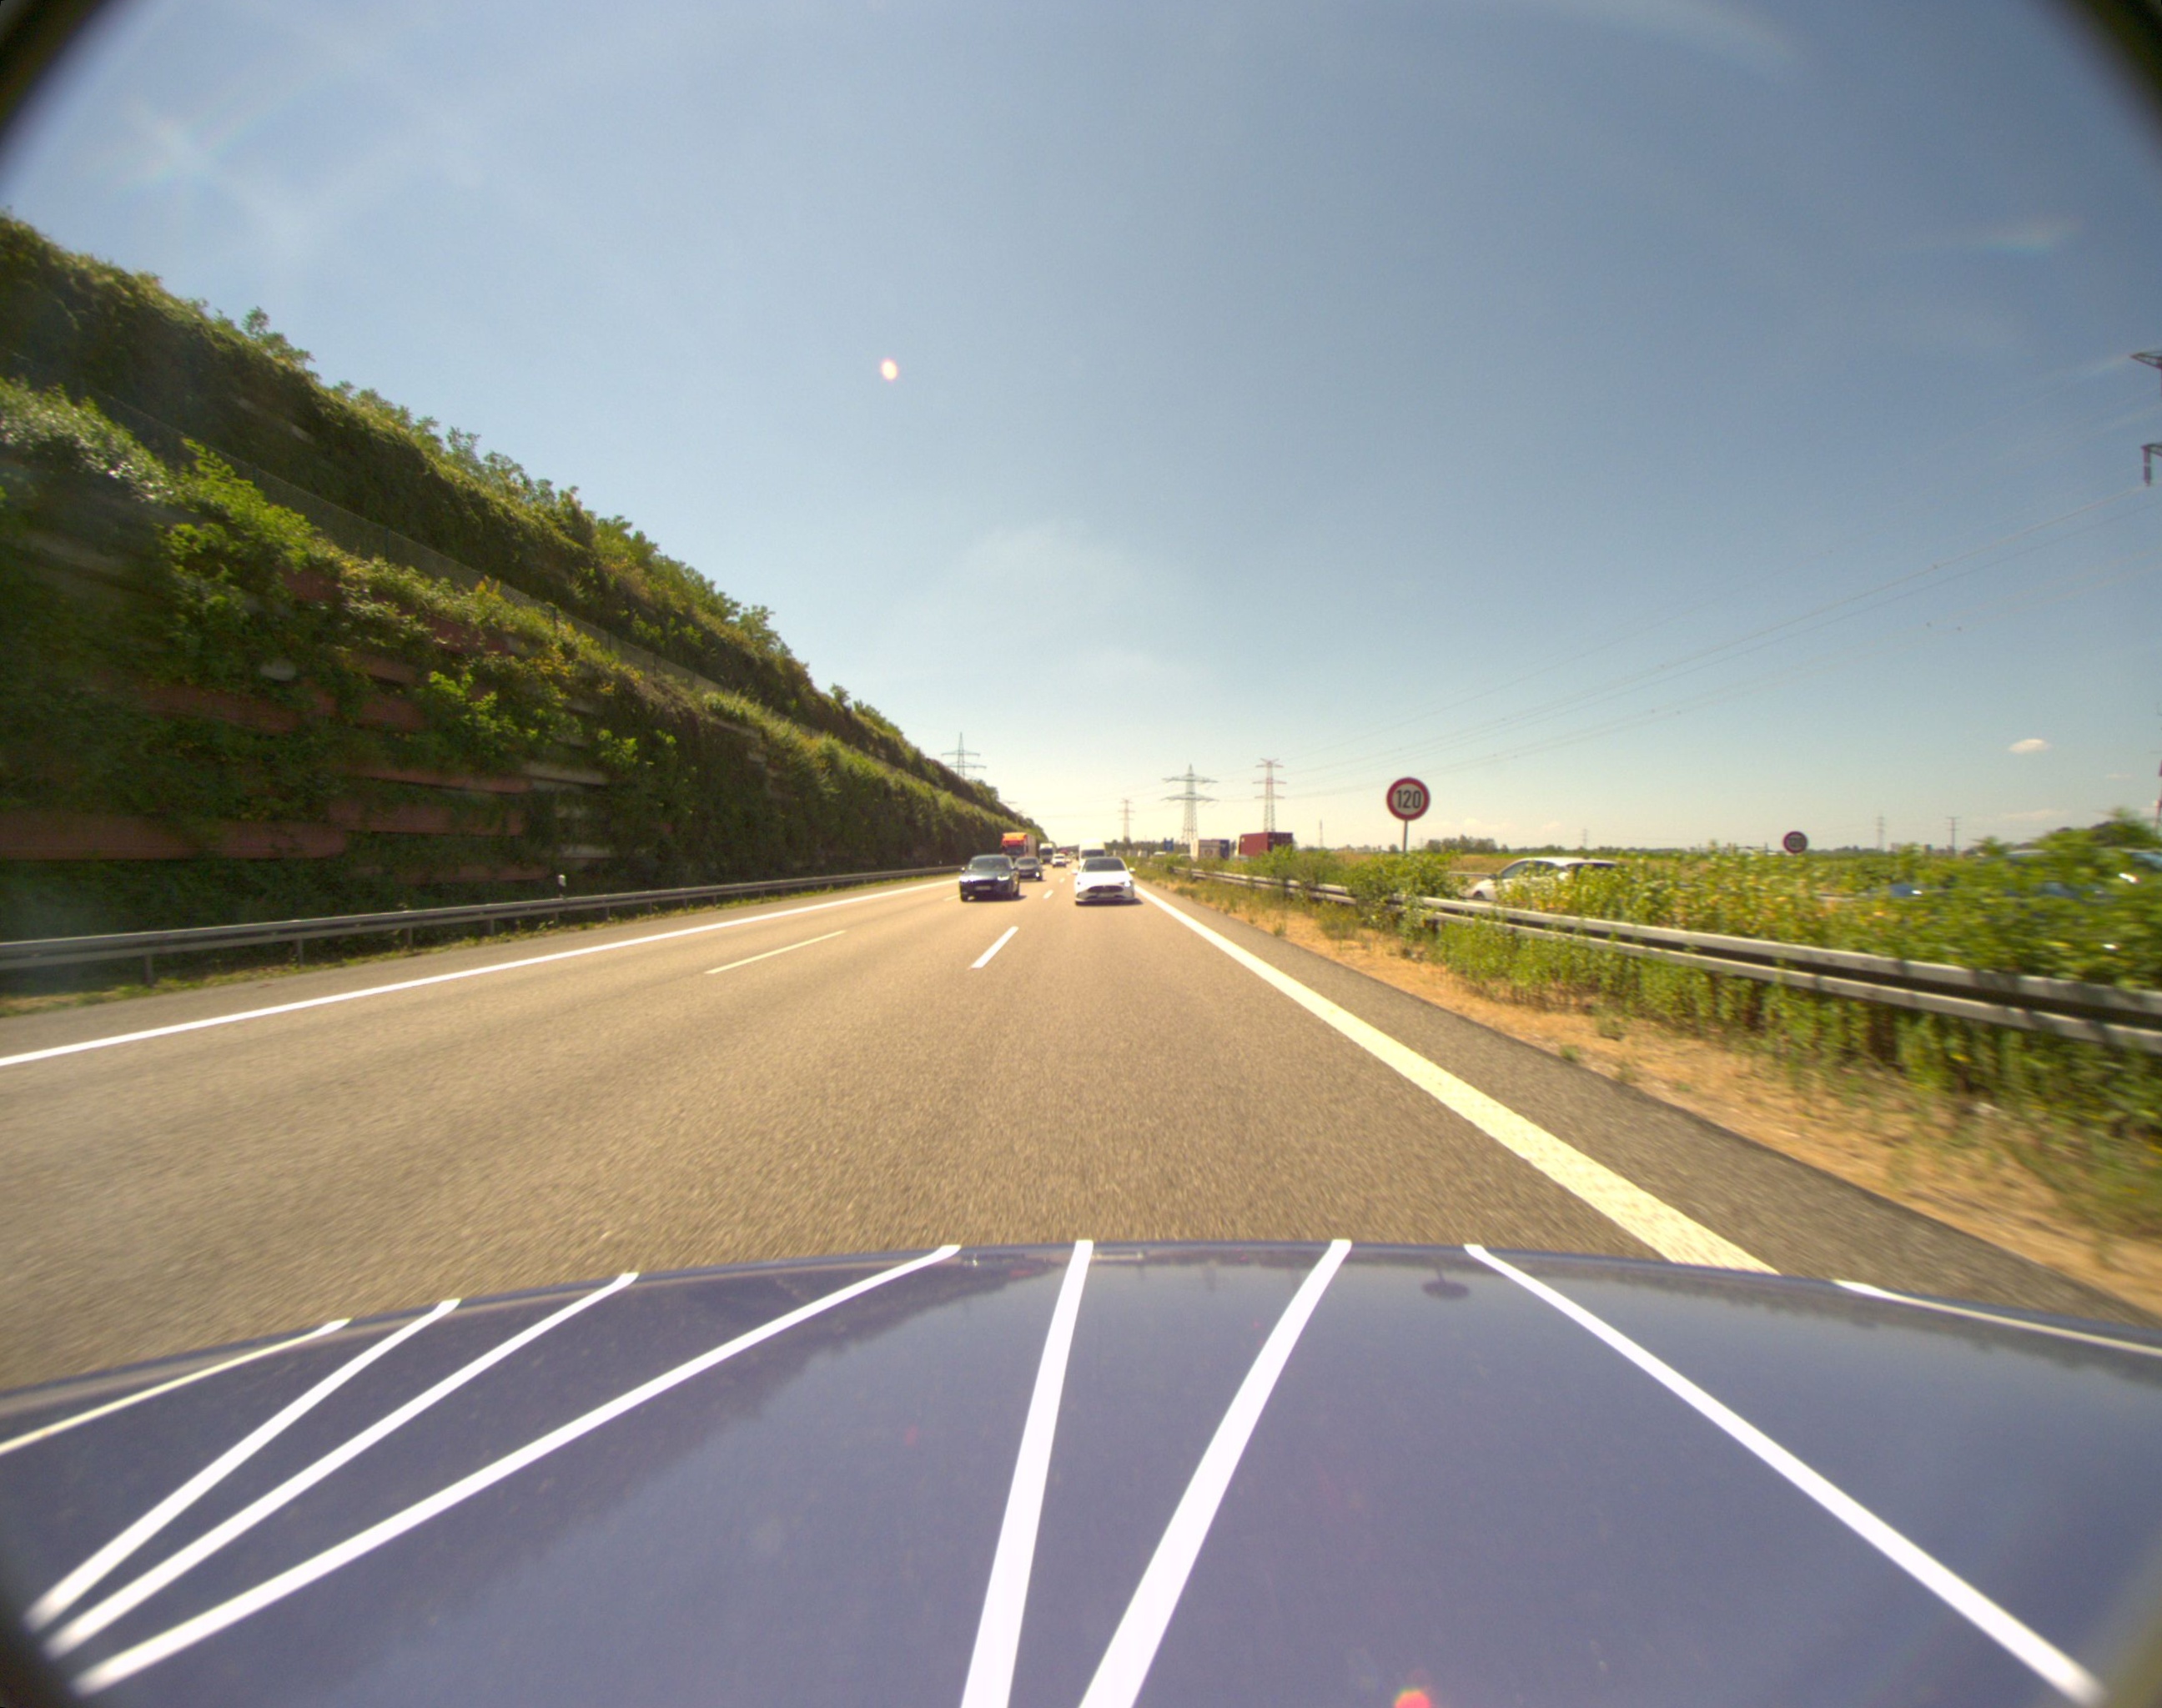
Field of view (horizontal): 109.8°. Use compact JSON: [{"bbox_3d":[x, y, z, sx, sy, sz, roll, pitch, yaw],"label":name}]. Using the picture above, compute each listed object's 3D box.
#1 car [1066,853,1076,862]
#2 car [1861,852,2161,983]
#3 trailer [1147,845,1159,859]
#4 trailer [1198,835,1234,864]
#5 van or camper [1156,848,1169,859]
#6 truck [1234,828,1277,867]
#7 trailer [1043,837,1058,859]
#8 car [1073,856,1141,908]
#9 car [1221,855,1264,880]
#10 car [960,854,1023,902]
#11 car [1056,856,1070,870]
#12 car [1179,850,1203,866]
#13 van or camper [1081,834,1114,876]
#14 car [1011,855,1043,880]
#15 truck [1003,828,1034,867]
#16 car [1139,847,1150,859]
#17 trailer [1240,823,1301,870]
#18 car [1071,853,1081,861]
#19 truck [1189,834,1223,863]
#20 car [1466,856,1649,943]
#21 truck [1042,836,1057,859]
[{"bbox_3d":[-1.919,0.678,147.847,1.782,1.717,3.750,-2,0,1],"label":"car"},{"bbox_3d":[14.352,0.785,10.851,1.757,1.623,4.608,0,0,1],"label":"car"},{"bbox_3d":[21.372,-0.575,225.690,2.743,4.022,9.423,0,0,0],"label":"trailer"},{"bbox_3d":[19.566,-0.662,110.920,2.857,3.954,14.142,0,0,0],"label":"trailer"},{"bbox_3d":[19.887,-0.107,185.855,2.449,2.503,6.483,0,0,0],"label":"van or camper"},{"bbox_3d":[19.266,-0.747,84.199,3.221,4.134,6.438,0,0,0],"label":"truck"},{"bbox_3d":[-6.107,-1.233,154.172,2.521,4.187,17.025,-1,0,-1],"label":"trailer"},{"bbox_3d":[0.751,0.841,24.493,1.999,1.474,4.108,-1,0,0],"label":"car"},{"bbox_3d":[10.209,0.836,48.327,1.756,1.477,4.201,0,0,-1],"label":"car"},{"bbox_3d":[-3.276,0.827,28.516,1.798,1.643,4.137,-1,0,0],"label":"car"},{"bbox_3d":[-2.433,1.217,101.958,1.784,1.783,4.000,-1,0,-1],"label":"car"},{"bbox_3d":[11.628,0.435,80.778,1.840,1.658,4.586,-1,0,0],"label":"car"},{"bbox_3d":[1.098,0.065,53.613,2.102,2.752,6.756,-1,0,-1],"label":"van or camper"},{"bbox_3d":[-3.407,0.827,48.387,1.753,1.516,3.995,-1,0,0],"label":"car"},{"bbox_3d":[-6.630,-0.696,81.261,2.624,3.969,6.526,-1,0,0],"label":"truck"},{"bbox_3d":[15.271,-0.223,182.507,2.110,2.615,7.467,1,0,1],"label":"car"},{"bbox_3d":[19.197,-0.738,77.976,3.201,4.281,12.270,-2,0,1],"label":"trailer"},{"bbox_3d":[-0.939,0.587,145.629,1.780,1.520,4.000,0,0,1],"label":"car"},{"bbox_3d":[15.271,-0.666,93.426,2.944,3.393,9.367,0,0,2],"label":"truck"},{"bbox_3d":[9.876,0.855,16.112,1.475,1.482,3.683,6,0,1],"label":"car"},{"bbox_3d":[-6.002,-1.202,145.612,2.514,4.195,6.255,-1,0,0],"label":"truck"}]
